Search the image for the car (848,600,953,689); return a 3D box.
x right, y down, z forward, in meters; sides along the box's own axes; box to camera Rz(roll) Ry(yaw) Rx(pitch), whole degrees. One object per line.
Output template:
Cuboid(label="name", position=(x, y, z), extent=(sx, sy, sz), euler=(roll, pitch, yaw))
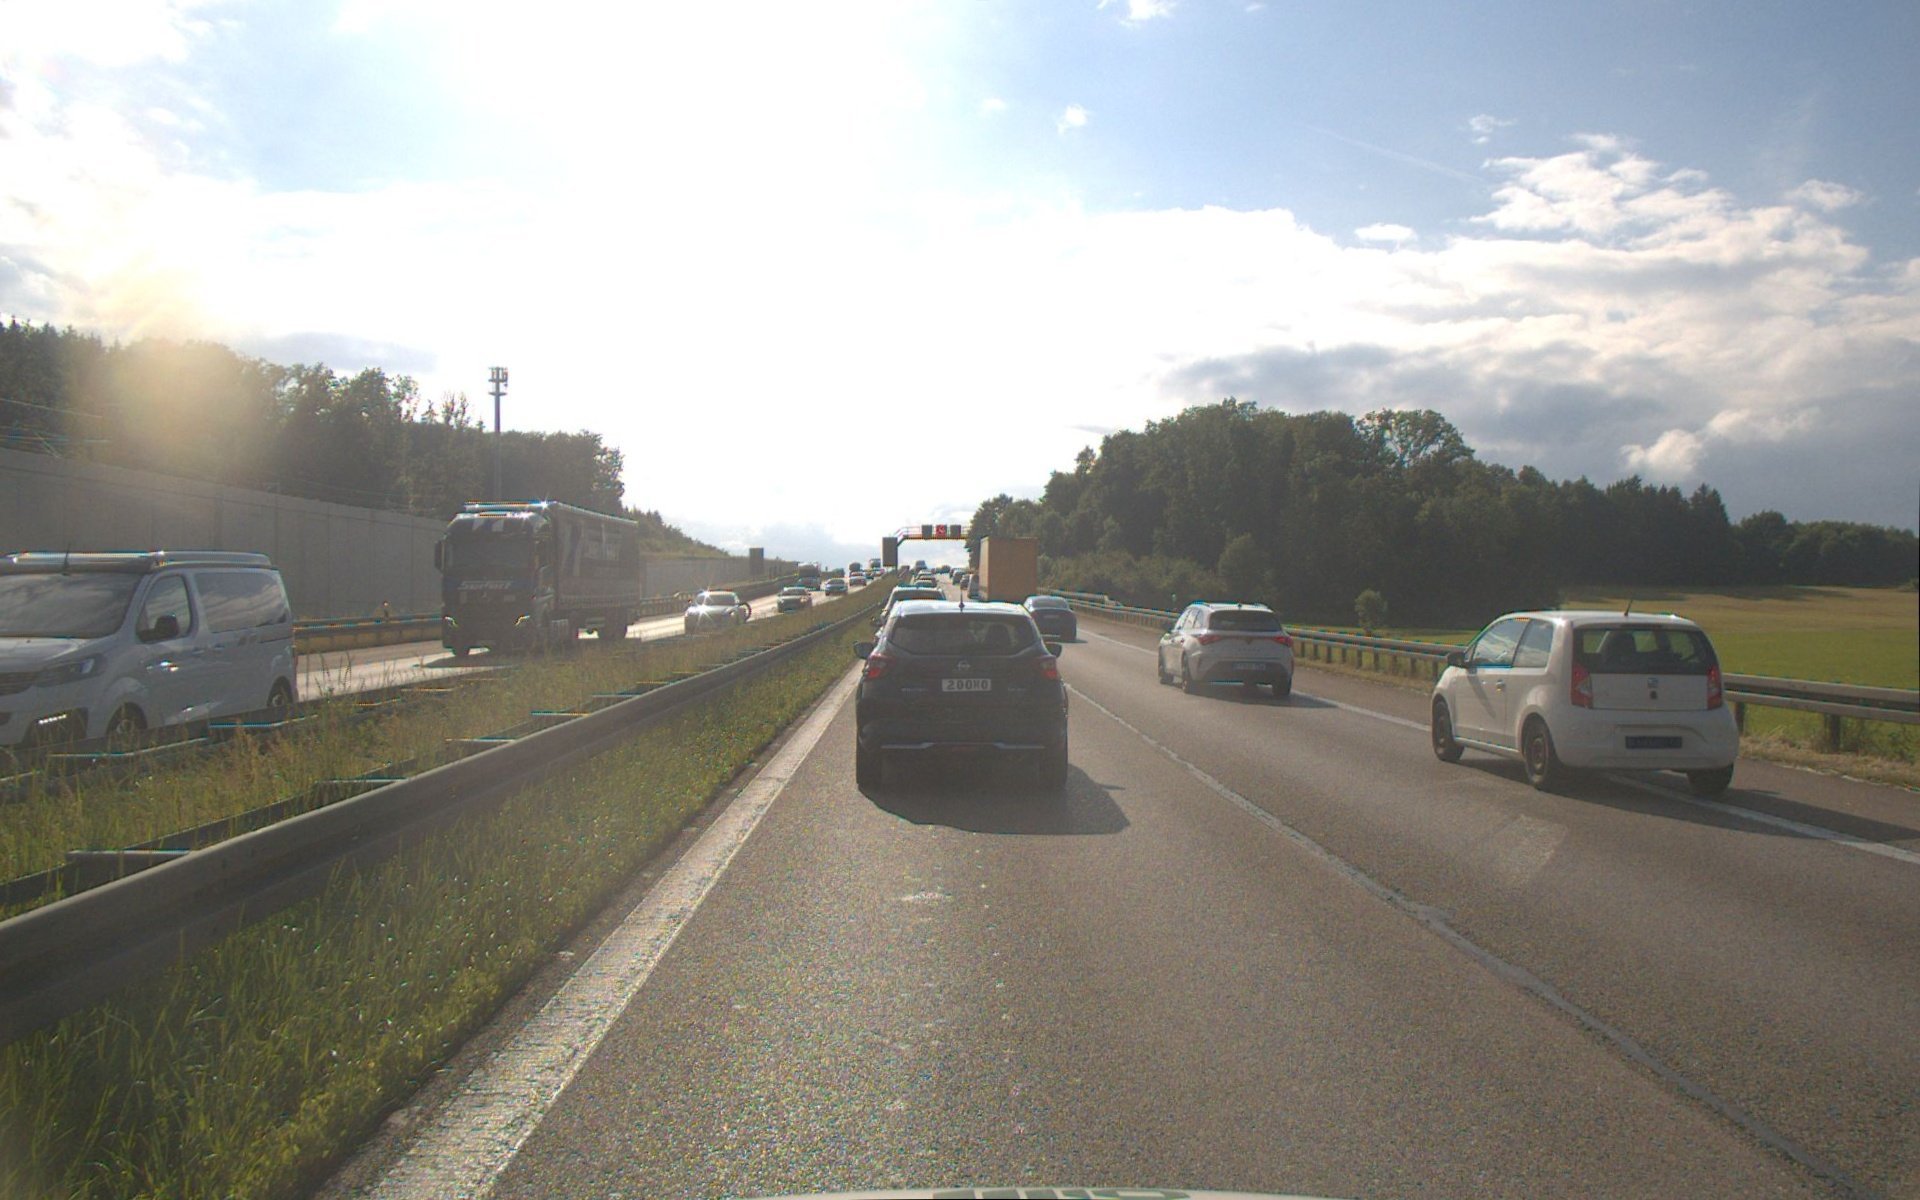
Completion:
Cuboid(label="car", position=(-0.960, 0.722, 28.047), extent=(1.639, 1.391, 3.595), euler=(1, -1, 0))

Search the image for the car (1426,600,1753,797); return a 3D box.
Cuboid(label="car", position=(5.489, 0.787, 14.845), extent=(1.518, 1.521, 3.376), euler=(1, 0, -3))

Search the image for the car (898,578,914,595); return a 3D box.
Cuboid(label="car", position=(-6.764, -1.710, 206.176), extent=(1.953, 2.049, 3.998), euler=(1, -1, -2))

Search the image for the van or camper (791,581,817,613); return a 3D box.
Cuboid(label="van or camper", position=(-15.757, -0.248, 167.543), extent=(2.180, 3.133, 6.510), euler=(1, -1, -2))

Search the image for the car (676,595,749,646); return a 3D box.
Cuboid(label="car", position=(-8.556, 0.696, 57.602), extent=(1.850, 1.660, 5.109), euler=(1, 0, -1))

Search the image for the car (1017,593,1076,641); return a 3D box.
Cuboid(label="car", position=(2.811, 0.546, 54.714), extent=(1.711, 1.501, 4.146), euler=(1, -1, 0))

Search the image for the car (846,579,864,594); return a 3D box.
Cuboid(label="car", position=(-12.011, -1.559, 189.863), extent=(1.953, 1.621, 4.447), euler=(1, 0, -2))

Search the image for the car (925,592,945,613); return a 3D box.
Cuboid(label="car", position=(-2.203, 0.233, 146.215), extent=(1.633, 1.785, 3.327), euler=(1, -1, 0))

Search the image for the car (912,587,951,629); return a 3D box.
Cuboid(label="car", position=(-1.486, 0.413, 85.041), extent=(1.953, 2.049, 3.998), euler=(1, -1, -2))

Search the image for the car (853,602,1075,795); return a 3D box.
Cuboid(label="car", position=(0.044, 0.766, 14.314), extent=(1.675, 1.451, 3.378), euler=(1, -1, 0))

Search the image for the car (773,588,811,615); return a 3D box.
Cuboid(label="car", position=(-9.836, 0.104, 96.916), extent=(1.863, 1.490, 4.182), euler=(1, 0, -2))

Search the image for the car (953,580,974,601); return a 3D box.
Cuboid(label="car", position=(0.357, -0.974, 168.225), extent=(1.953, 2.049, 3.998), euler=(1, -1, -2))

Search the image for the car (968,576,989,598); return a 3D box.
Cuboid(label="car", position=(1.512, -1.048, 134.947), extent=(1.633, 1.785, 3.327), euler=(1, -1, 0))

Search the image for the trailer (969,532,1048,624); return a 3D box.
Cuboid(label="trailer", position=(2.485, -1.053, 89.265), extent=(3.477, 4.535, 12.717), euler=(1, 0, -2))

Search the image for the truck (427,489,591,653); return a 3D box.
Cuboid(label="truck", position=(-12.250, -0.708, 45.555), extent=(2.698, 4.162, 6.951), euler=(0, -1, -1))

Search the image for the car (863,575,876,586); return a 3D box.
Cuboid(label="car", position=(-12.548, -2.752, 229.548), extent=(1.816, 1.458, 4.447), euler=(0, 0, -2))

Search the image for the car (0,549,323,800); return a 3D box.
Cuboid(label="car", position=(-7.747, 0.612, 15.193), extent=(1.953, 1.916, 4.786), euler=(-2, 0, -1))

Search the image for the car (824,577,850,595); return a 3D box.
Cuboid(label="car", position=(-10.386, -1.178, 139.508), extent=(1.953, 1.458, 4.447), euler=(1, 0, -2))

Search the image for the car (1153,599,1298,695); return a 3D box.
Cuboid(label="car", position=(4.356, 0.750, 27.700), extent=(1.588, 1.471, 4.144), euler=(1, -1, -3))

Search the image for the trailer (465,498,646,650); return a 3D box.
Cuboid(label="trailer", position=(-12.381, -0.666, 52.051), extent=(2.703, 4.187, 12.900), euler=(0, 0, -1))

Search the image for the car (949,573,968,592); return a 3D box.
Cuboid(label="car", position=(-0.204, -1.948, 189.283), extent=(1.953, 2.049, 3.998), euler=(1, -1, -2))

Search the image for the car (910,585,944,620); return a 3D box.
Cuboid(label="car", position=(-2.030, 0.166, 100.034), extent=(1.953, 2.049, 3.998), euler=(1, -1, -2))

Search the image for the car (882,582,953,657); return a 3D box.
Cuboid(label="car", position=(-1.013, 0.472, 40.879), extent=(1.639, 1.756, 3.595), euler=(1, -1, 0))

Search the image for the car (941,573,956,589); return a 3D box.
Cuboid(label="car", position=(-1.602, -2.665, 229.715), extent=(1.953, 2.049, 3.998), euler=(1, -1, -2))
